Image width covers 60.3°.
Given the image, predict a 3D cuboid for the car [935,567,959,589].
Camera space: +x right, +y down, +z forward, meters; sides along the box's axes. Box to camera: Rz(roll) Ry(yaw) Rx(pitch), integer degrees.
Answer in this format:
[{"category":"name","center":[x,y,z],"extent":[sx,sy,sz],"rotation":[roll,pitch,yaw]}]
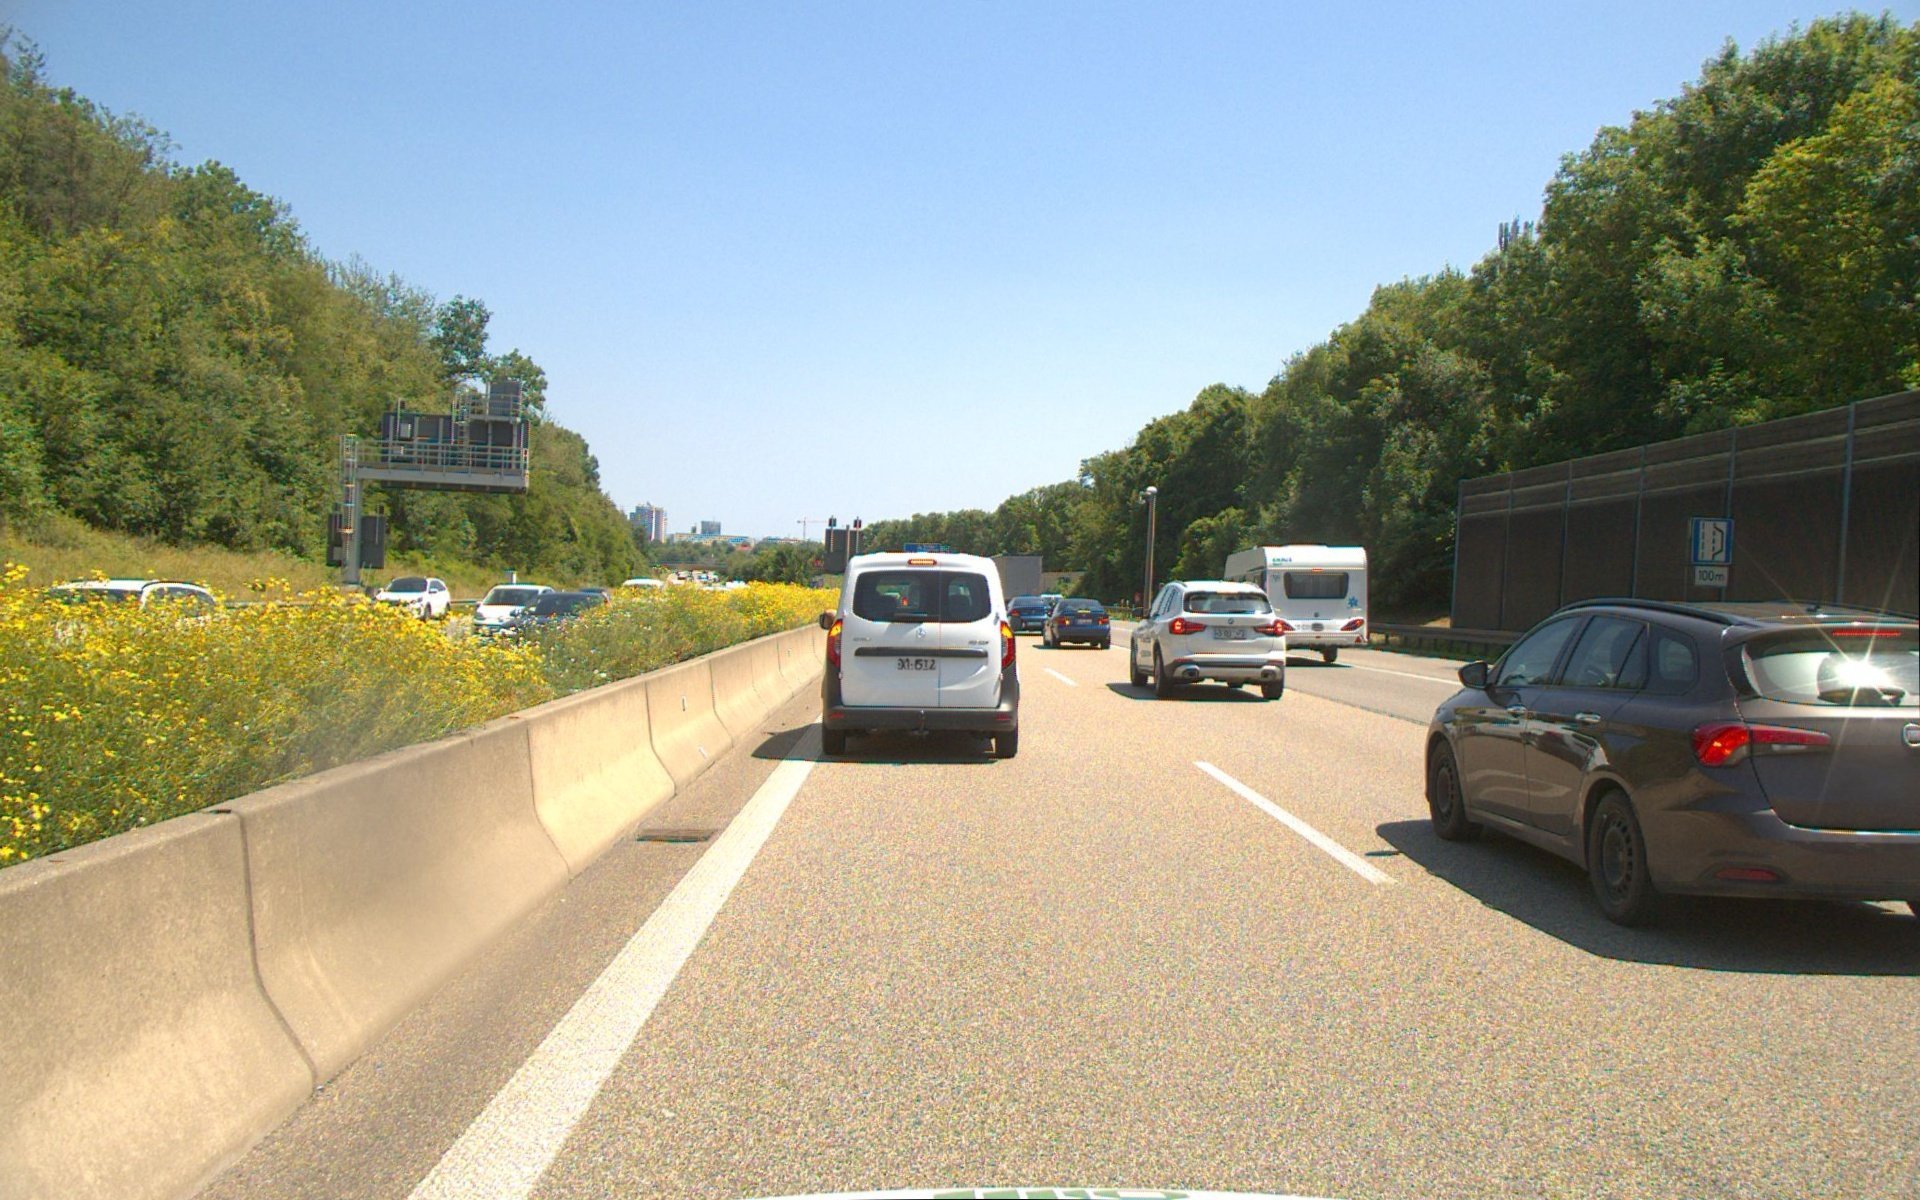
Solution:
[{"category":"car","center":[-1.238,-2.083,158.943],"extent":[1.955,2.049,3.995],"rotation":[0,0,-6]}]

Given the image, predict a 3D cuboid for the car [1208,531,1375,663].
[{"category":"car","center":[7.627,-0.074,38.812],"extent":[2.429,2.814,6.217],"rotation":[1,0,-2]}]

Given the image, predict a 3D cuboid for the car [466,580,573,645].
[{"category":"car","center":[-10.860,0.281,41.006],"extent":[1.641,1.524,3.882],"rotation":[1,0,-1]}]

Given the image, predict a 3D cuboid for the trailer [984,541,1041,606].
[{"category":"trailer","center":[3.368,-1.701,109.482],"extent":[3.020,4.055,10.319],"rotation":[1,0,-2]}]

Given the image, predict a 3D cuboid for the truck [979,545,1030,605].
[{"category":"truck","center":[3.084,-1.738,117.302],"extent":[3.020,4.055,9.642],"rotation":[1,0,-2]}]

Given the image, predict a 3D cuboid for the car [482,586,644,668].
[{"category":"car","center":[-7.045,0.437,29.811],"extent":[1.953,1.364,4.247],"rotation":[1,0,-1]}]

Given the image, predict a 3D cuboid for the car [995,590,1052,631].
[{"category":"car","center":[2.304,0.370,61.025],"extent":[1.787,1.449,3.998],"rotation":[1,0,-2]}]

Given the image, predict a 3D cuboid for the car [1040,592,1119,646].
[{"category":"car","center":[3.339,0.504,46.716],"extent":[1.787,1.449,3.998],"rotation":[1,0,-2]}]

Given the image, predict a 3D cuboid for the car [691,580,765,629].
[{"category":"car","center":[-7.630,0.120,54.832],"extent":[1.899,1.529,4.658],"rotation":[1,0,-1]}]

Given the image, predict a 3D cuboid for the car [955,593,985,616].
[{"category":"car","center":[0.645,0.262,107.526],"extent":[1.787,1.472,3.998],"rotation":[1,0,-2]}]

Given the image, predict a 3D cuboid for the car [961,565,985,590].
[{"category":"car","center":[1.102,-1.928,142.028],"extent":[1.953,2.049,3.999],"rotation":[0,0,-2]}]

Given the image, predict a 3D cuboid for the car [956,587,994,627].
[{"category":"car","center":[0.766,0.359,87.678],"extent":[1.787,2.024,3.998],"rotation":[1,0,-2]}]

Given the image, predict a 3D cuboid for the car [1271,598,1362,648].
[{"category":"car","center":[10.890,0.676,50.783],"extent":[1.787,1.449,3.998],"rotation":[1,0,-2]}]

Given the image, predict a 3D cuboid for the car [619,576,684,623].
[{"category":"car","center":[-12.278,-0.022,66.063],"extent":[1.846,1.786,4.276],"rotation":[1,0,-1]}]

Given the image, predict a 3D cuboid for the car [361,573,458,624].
[{"category":"car","center":[-19.547,-0.053,58.985],"extent":[1.953,1.721,4.766],"rotation":[1,0,-1]}]

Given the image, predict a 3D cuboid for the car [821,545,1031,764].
[{"category":"car","center":[-0.282,0.443,16.052],"extent":[1.765,1.839,4.000],"rotation":[1,0,0]}]

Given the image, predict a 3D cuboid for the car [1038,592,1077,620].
[{"category":"car","center":[5.319,0.323,90.581],"extent":[1.787,1.449,3.998],"rotation":[1,0,-2]}]

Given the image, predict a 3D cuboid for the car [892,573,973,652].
[{"category":"car","center":[-0.736,0.296,42.032],"extent":[1.953,1.892,3.998],"rotation":[1,0,-2]}]

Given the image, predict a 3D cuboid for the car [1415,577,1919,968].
[{"category":"car","center":[3.949,0.669,8.793],"extent":[1.801,1.539,4.401],"rotation":[1,1,0]}]

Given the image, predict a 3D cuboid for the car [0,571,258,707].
[{"category":"car","center":[-10.683,0.418,20.775],"extent":[1.953,1.524,4.247],"rotation":[1,0,-1]}]

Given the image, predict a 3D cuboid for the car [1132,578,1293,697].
[{"category":"car","center":[3.745,0.500,25.149],"extent":[1.833,1.636,3.879],"rotation":[1,1,0]}]
